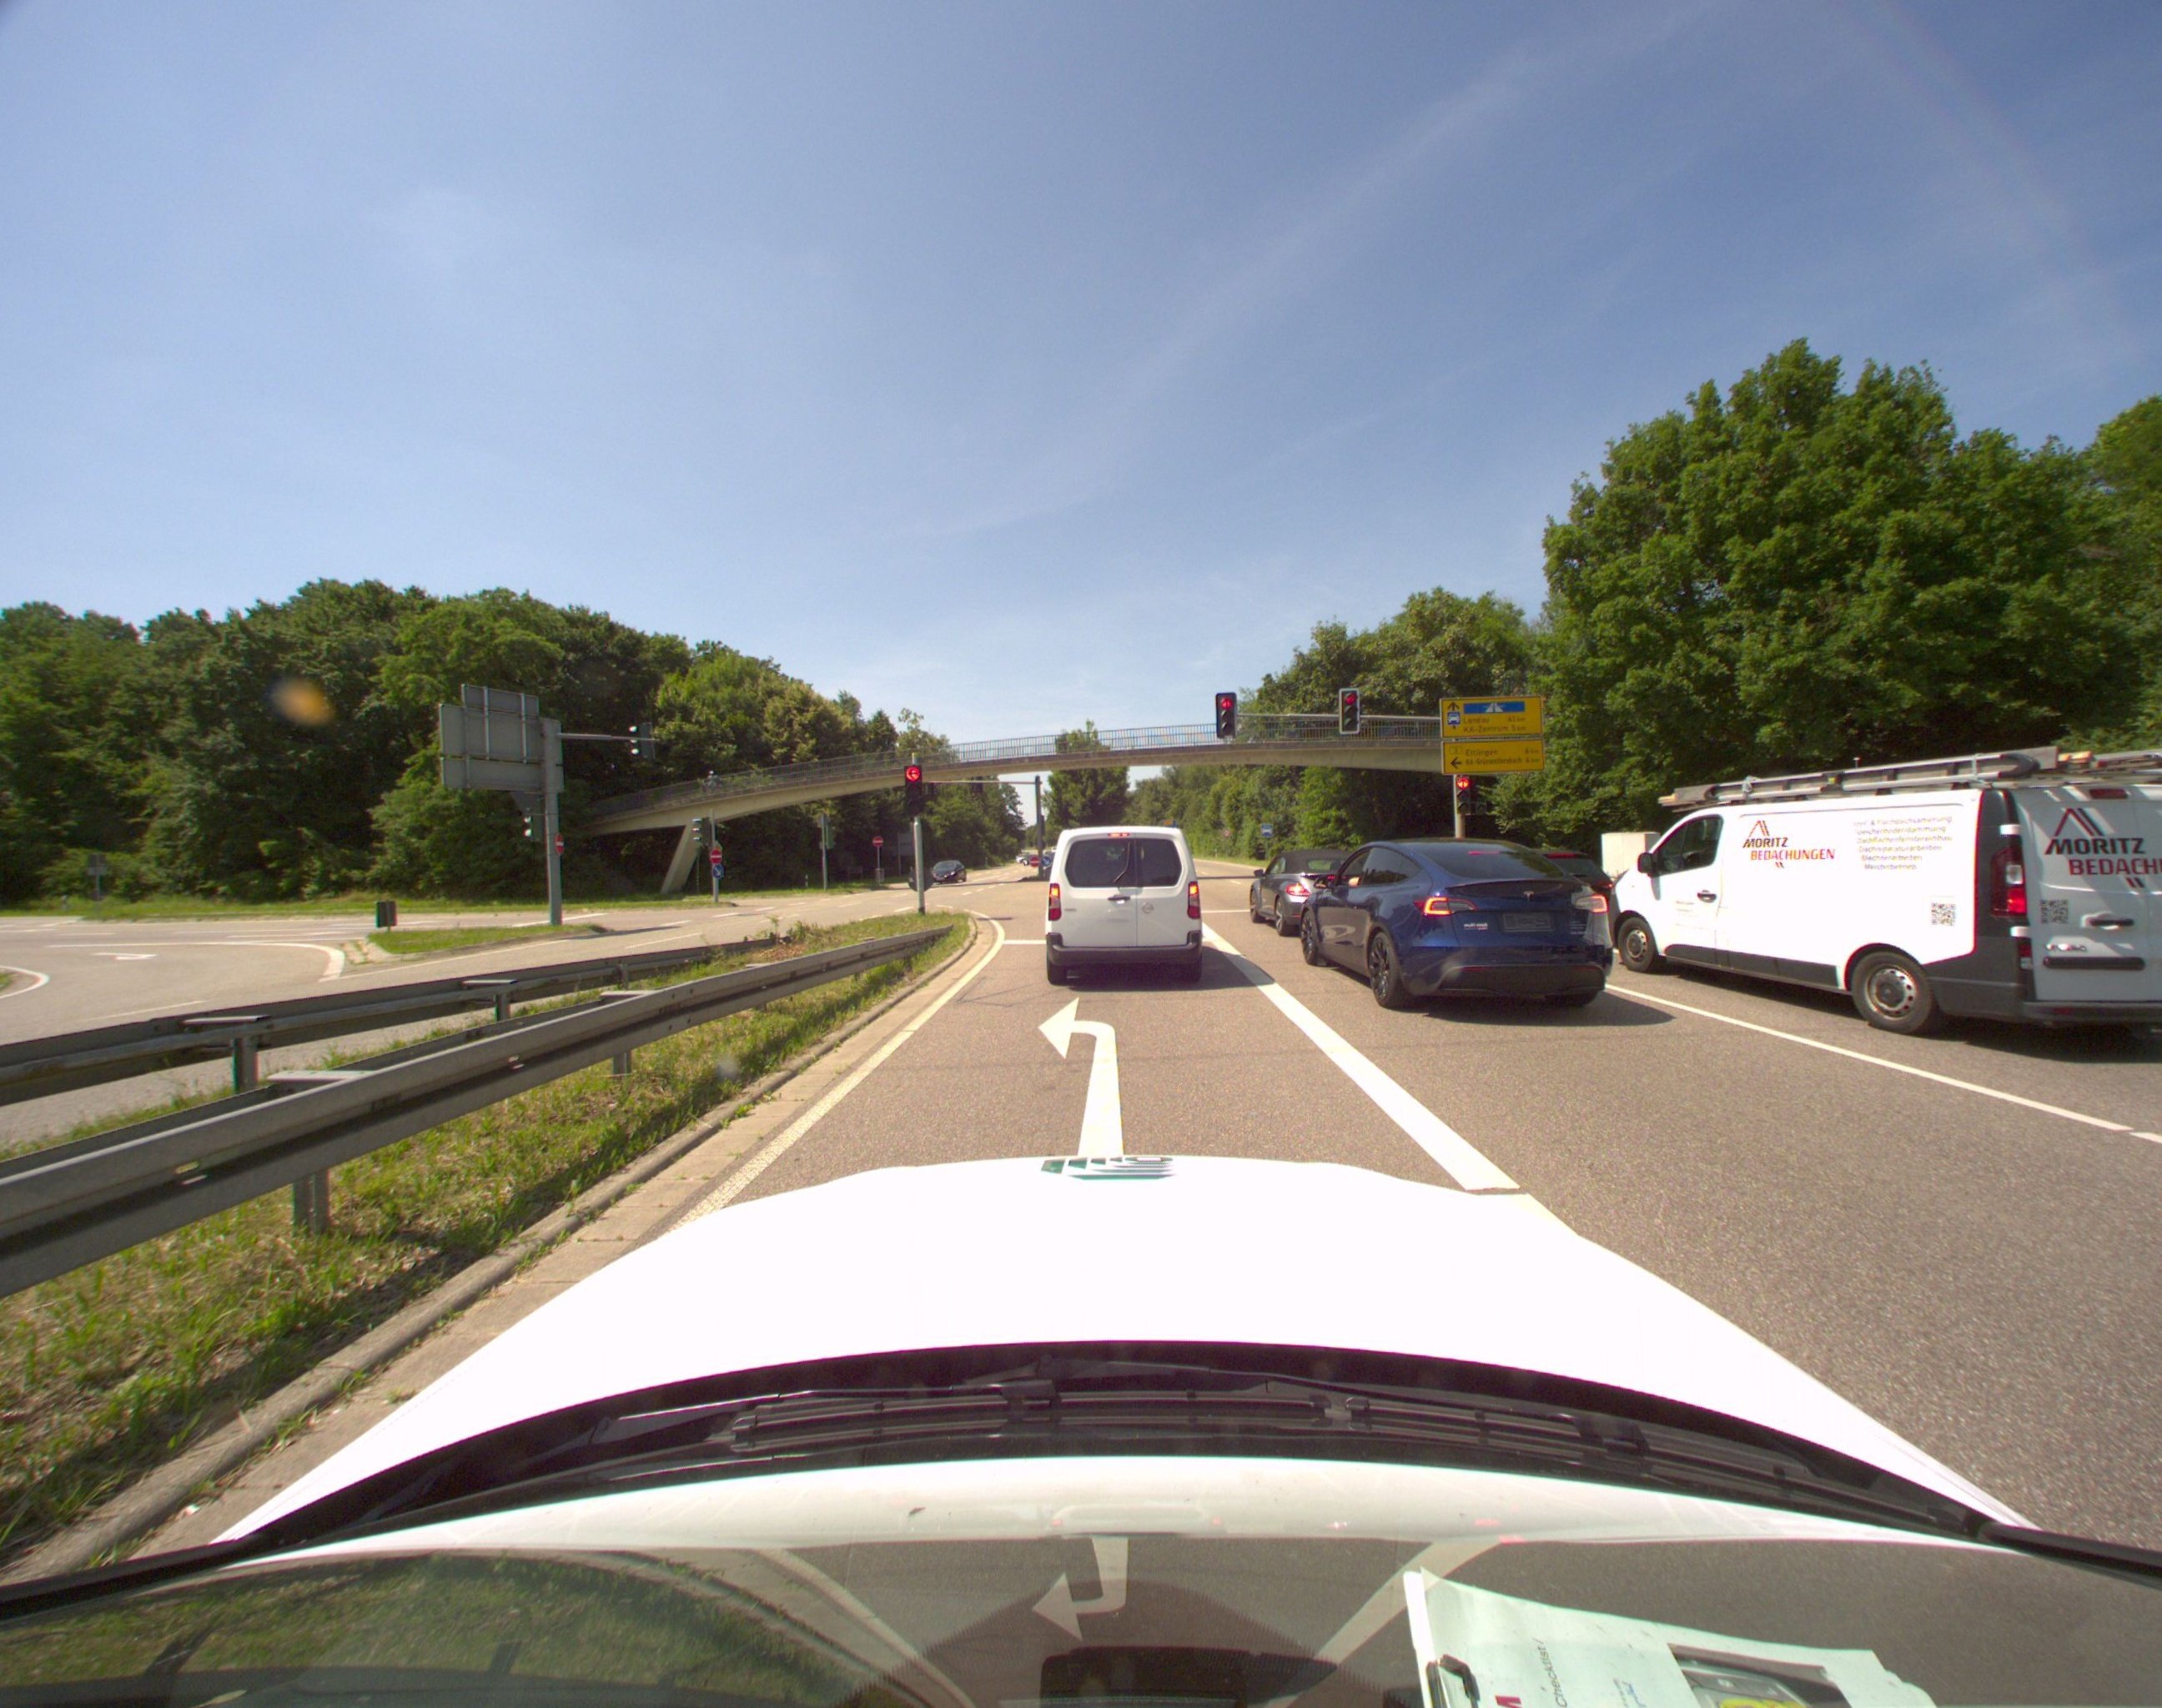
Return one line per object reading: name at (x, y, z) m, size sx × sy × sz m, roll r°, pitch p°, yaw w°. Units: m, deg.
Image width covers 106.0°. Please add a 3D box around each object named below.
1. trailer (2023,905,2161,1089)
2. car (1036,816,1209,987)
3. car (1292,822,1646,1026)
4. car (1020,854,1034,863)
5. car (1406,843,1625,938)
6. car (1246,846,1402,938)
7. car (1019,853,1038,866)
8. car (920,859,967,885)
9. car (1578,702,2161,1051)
trailer at (7.060, 0.854, 3.745) m, size 1.699 × 1.006 × 3.326 m, roll -1°, pitch 0°, yaw 2°
car at (0.519, 0.477, 10.761) m, size 1.842 × 1.825 × 3.983 m, roll -1°, pitch 1°, yaw 2°
car at (3.744, 0.561, 8.893) m, size 1.892 × 1.644 × 4.523 m, roll -1°, pitch 0°, yaw 3°
car at (-8.605, 0.714, 129.982) m, size 1.745 × 1.406 × 4.003 m, roll -3°, pitch 0°, yaw 3°
car at (7.731, 0.560, 15.052) m, size 1.892 × 1.477 × 4.384 m, roll -1°, pitch 0°, yaw 3°
car at (4.321, 0.603, 15.143) m, size 1.892 × 1.477 × 3.942 m, roll -1°, pitch 0°, yaw 3°
car at (-7.010, 0.720, 108.120) m, size 1.985 × 1.665 × 4.003 m, roll -3°, pitch 0°, yaw 3°
car at (-8.671, 1.123, 51.704) m, size 2.000 × 1.460 × 4.058 m, roll -4°, pitch 0°, yaw 3°
car at (7.326, 0.137, 8.030) m, size 1.925 × 2.349 × 5.078 m, roll -1°, pitch 0°, yaw 2°
